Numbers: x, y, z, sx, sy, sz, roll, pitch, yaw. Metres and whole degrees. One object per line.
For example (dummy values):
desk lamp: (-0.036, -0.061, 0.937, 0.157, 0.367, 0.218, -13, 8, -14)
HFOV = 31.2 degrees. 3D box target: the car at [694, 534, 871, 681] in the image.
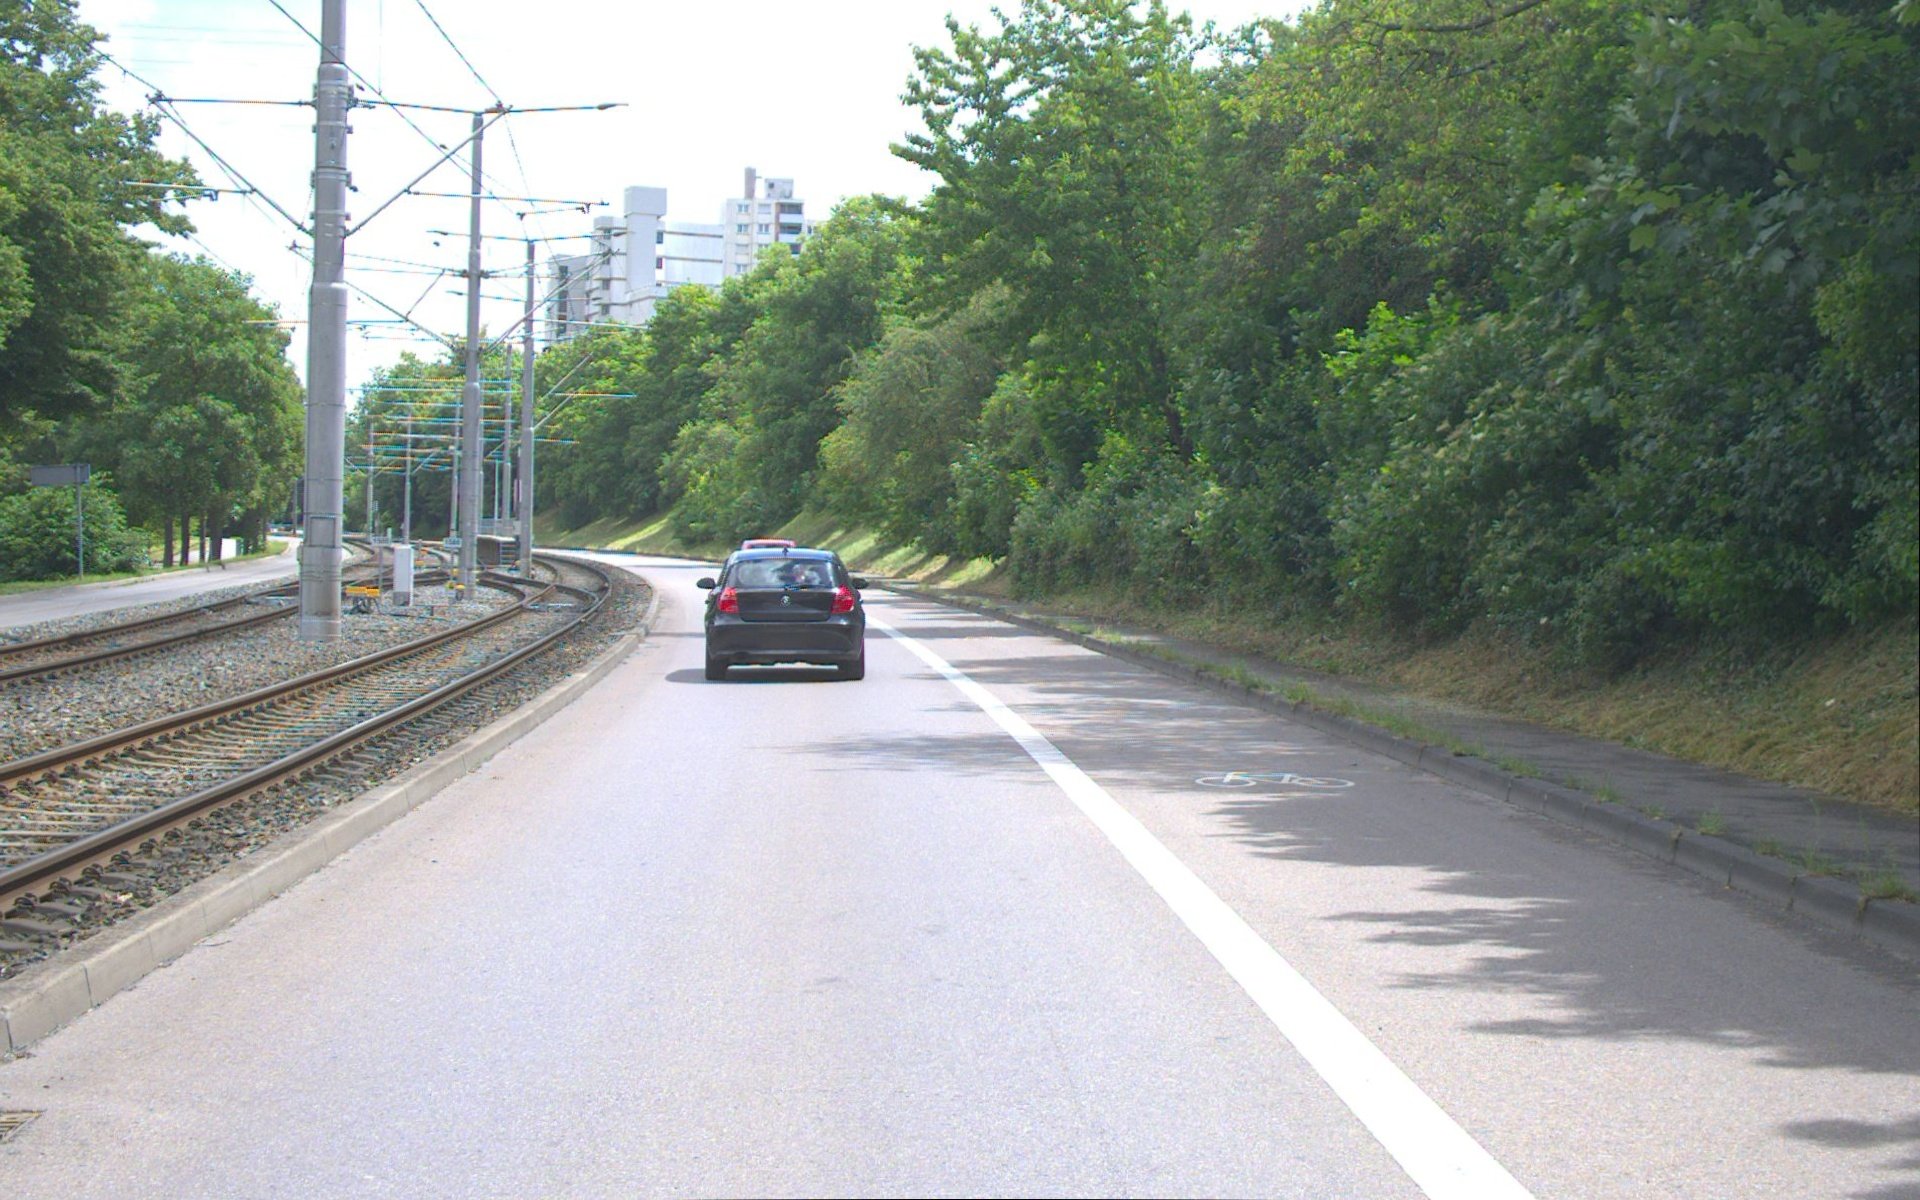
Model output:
car: (-1.901, 0.077, 37.814, 1.708, 1.455, 3.960, 3, 0, 0)

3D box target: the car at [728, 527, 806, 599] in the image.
car: (-4.274, -0.796, 76.473, 1.624, 1.438, 3.421, 2, -1, -2)
